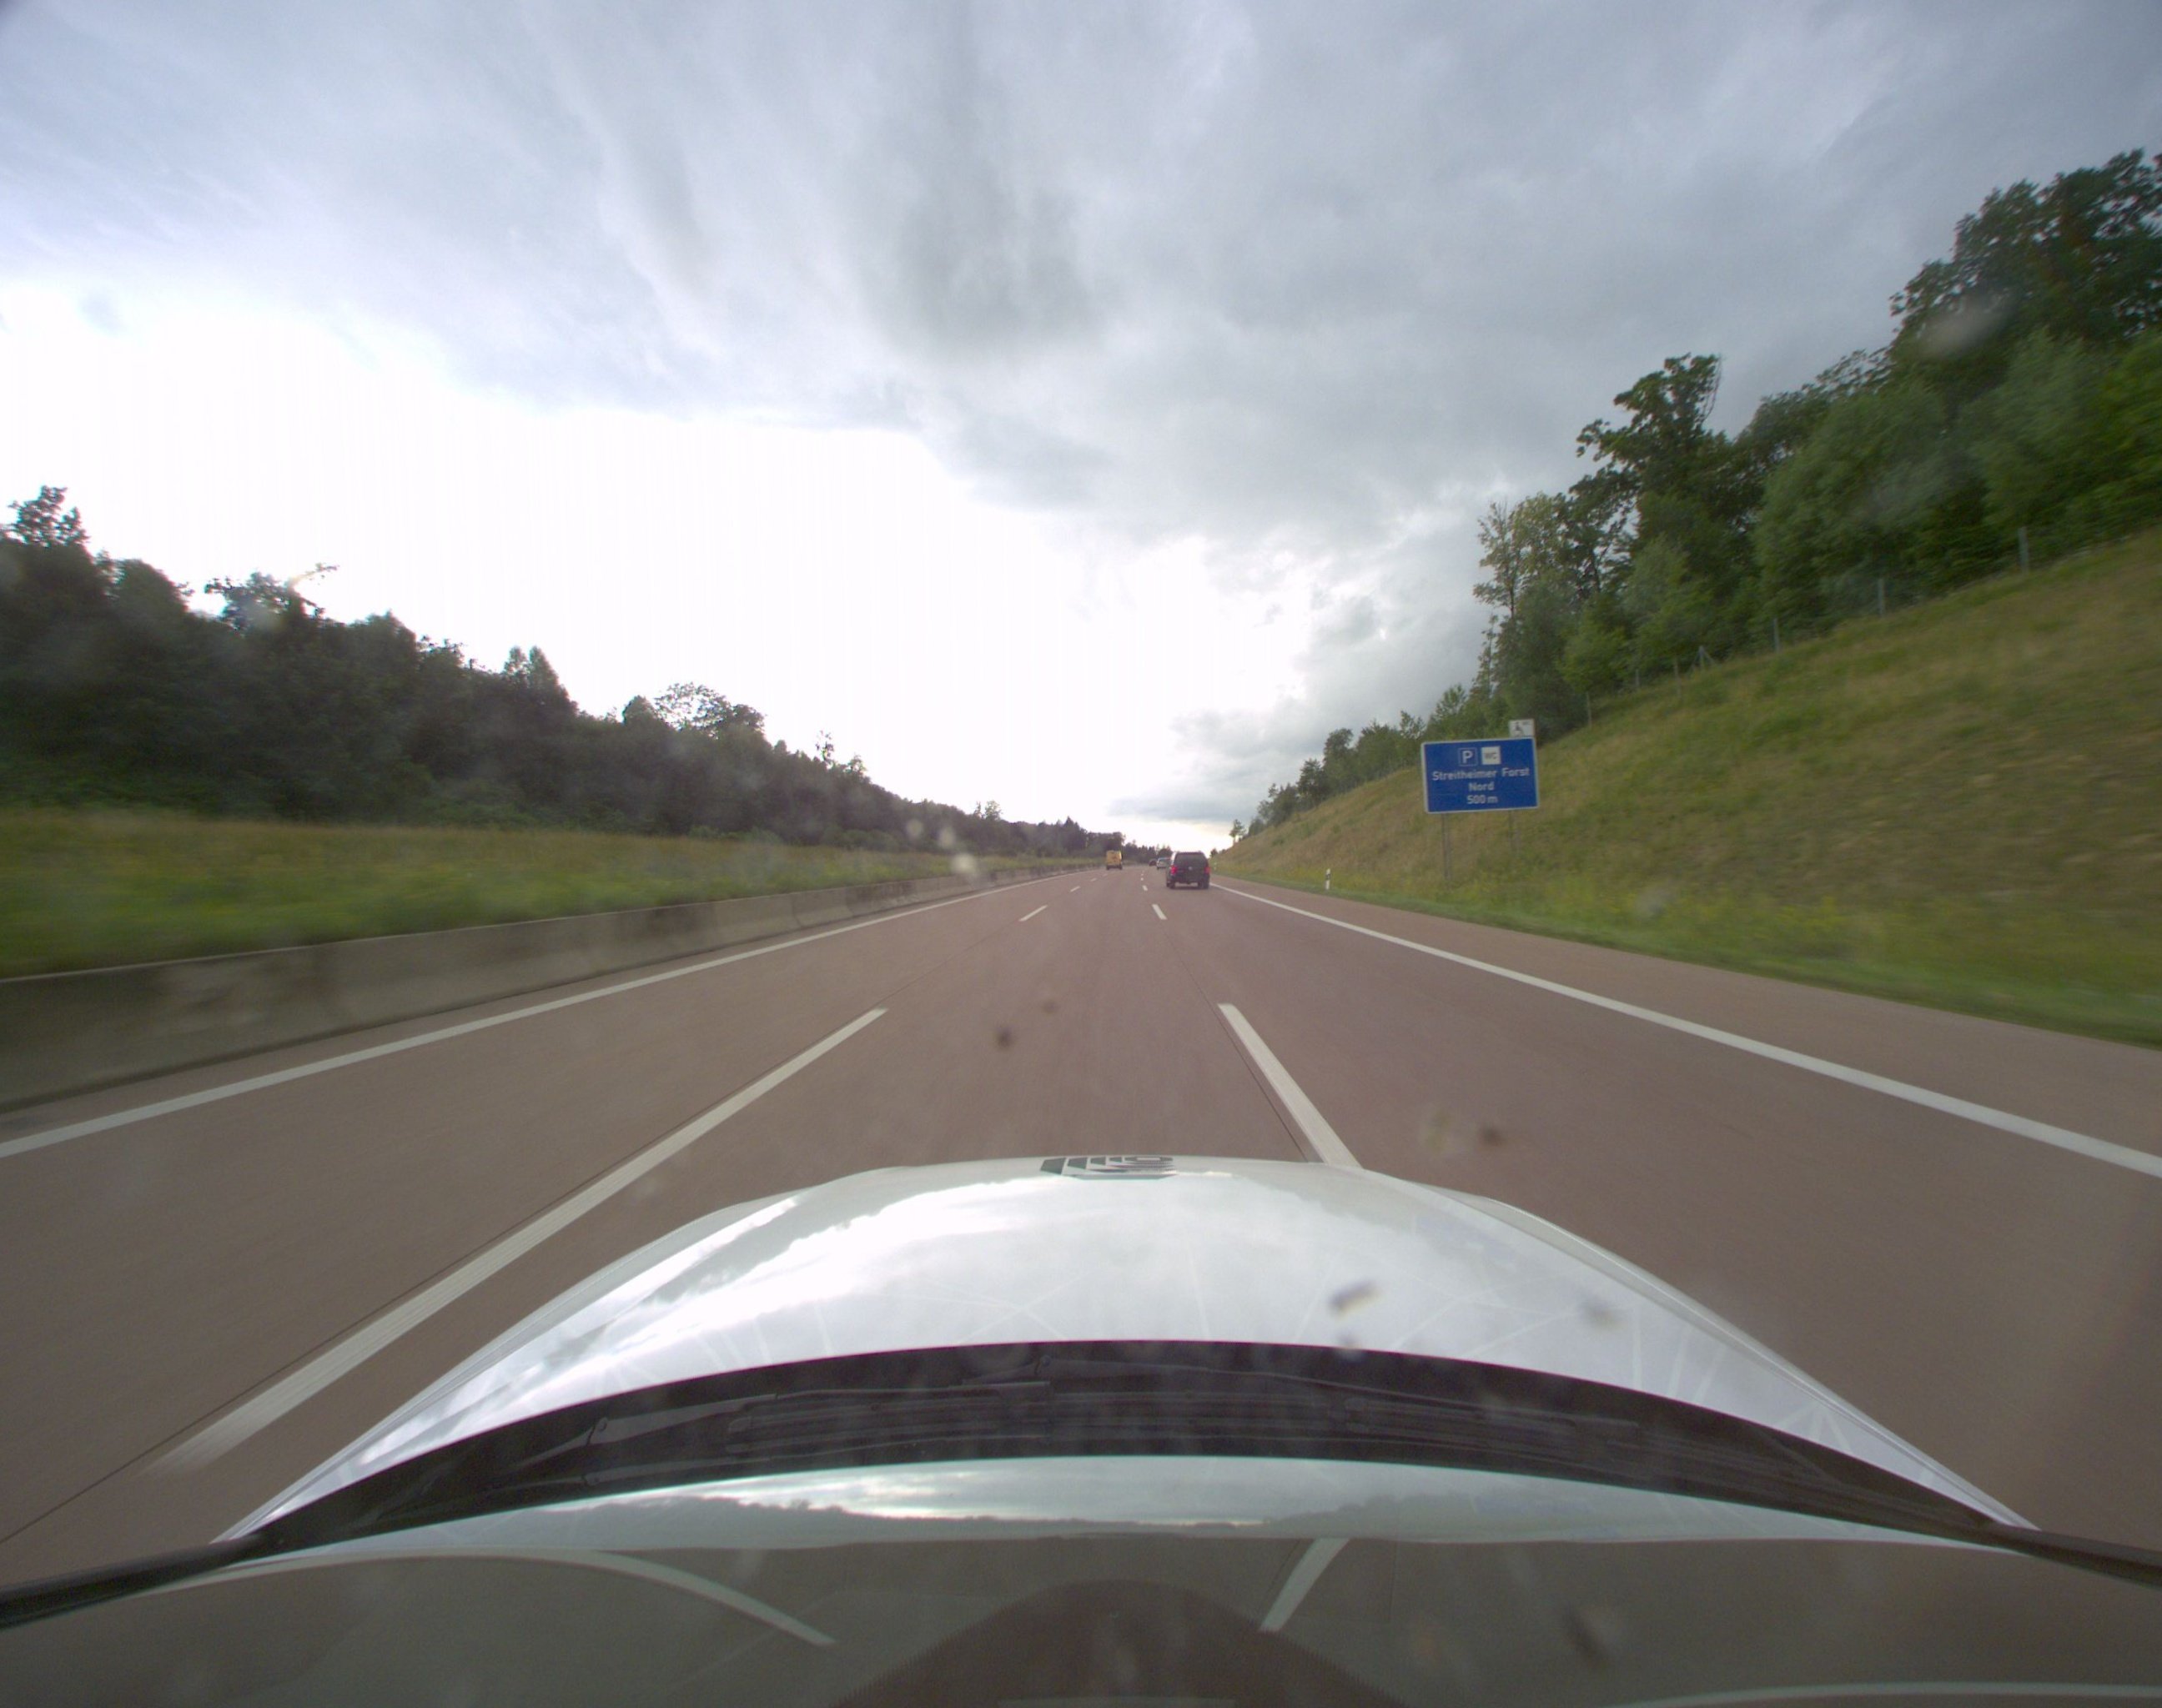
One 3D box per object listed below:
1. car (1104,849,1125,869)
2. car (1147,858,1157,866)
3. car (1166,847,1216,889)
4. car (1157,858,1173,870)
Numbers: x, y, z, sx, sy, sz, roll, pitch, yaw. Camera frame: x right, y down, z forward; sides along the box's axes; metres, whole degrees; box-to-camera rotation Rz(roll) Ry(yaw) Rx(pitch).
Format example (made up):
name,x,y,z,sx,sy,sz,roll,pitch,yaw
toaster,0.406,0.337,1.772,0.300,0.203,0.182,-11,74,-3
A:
name,x,y,z,sx,sy,sz,roll,pitch,yaw
car,4.791,0.716,116.245,2.445,2.706,5.624,-2,-1,7
car,17.532,2.048,200.489,1.876,1.764,5.011,-2,-1,10
car,5.398,0.707,40.629,2.035,1.897,5.581,-2,-1,3
car,11.699,1.344,113.460,1.969,1.648,4.624,0,-1,4
